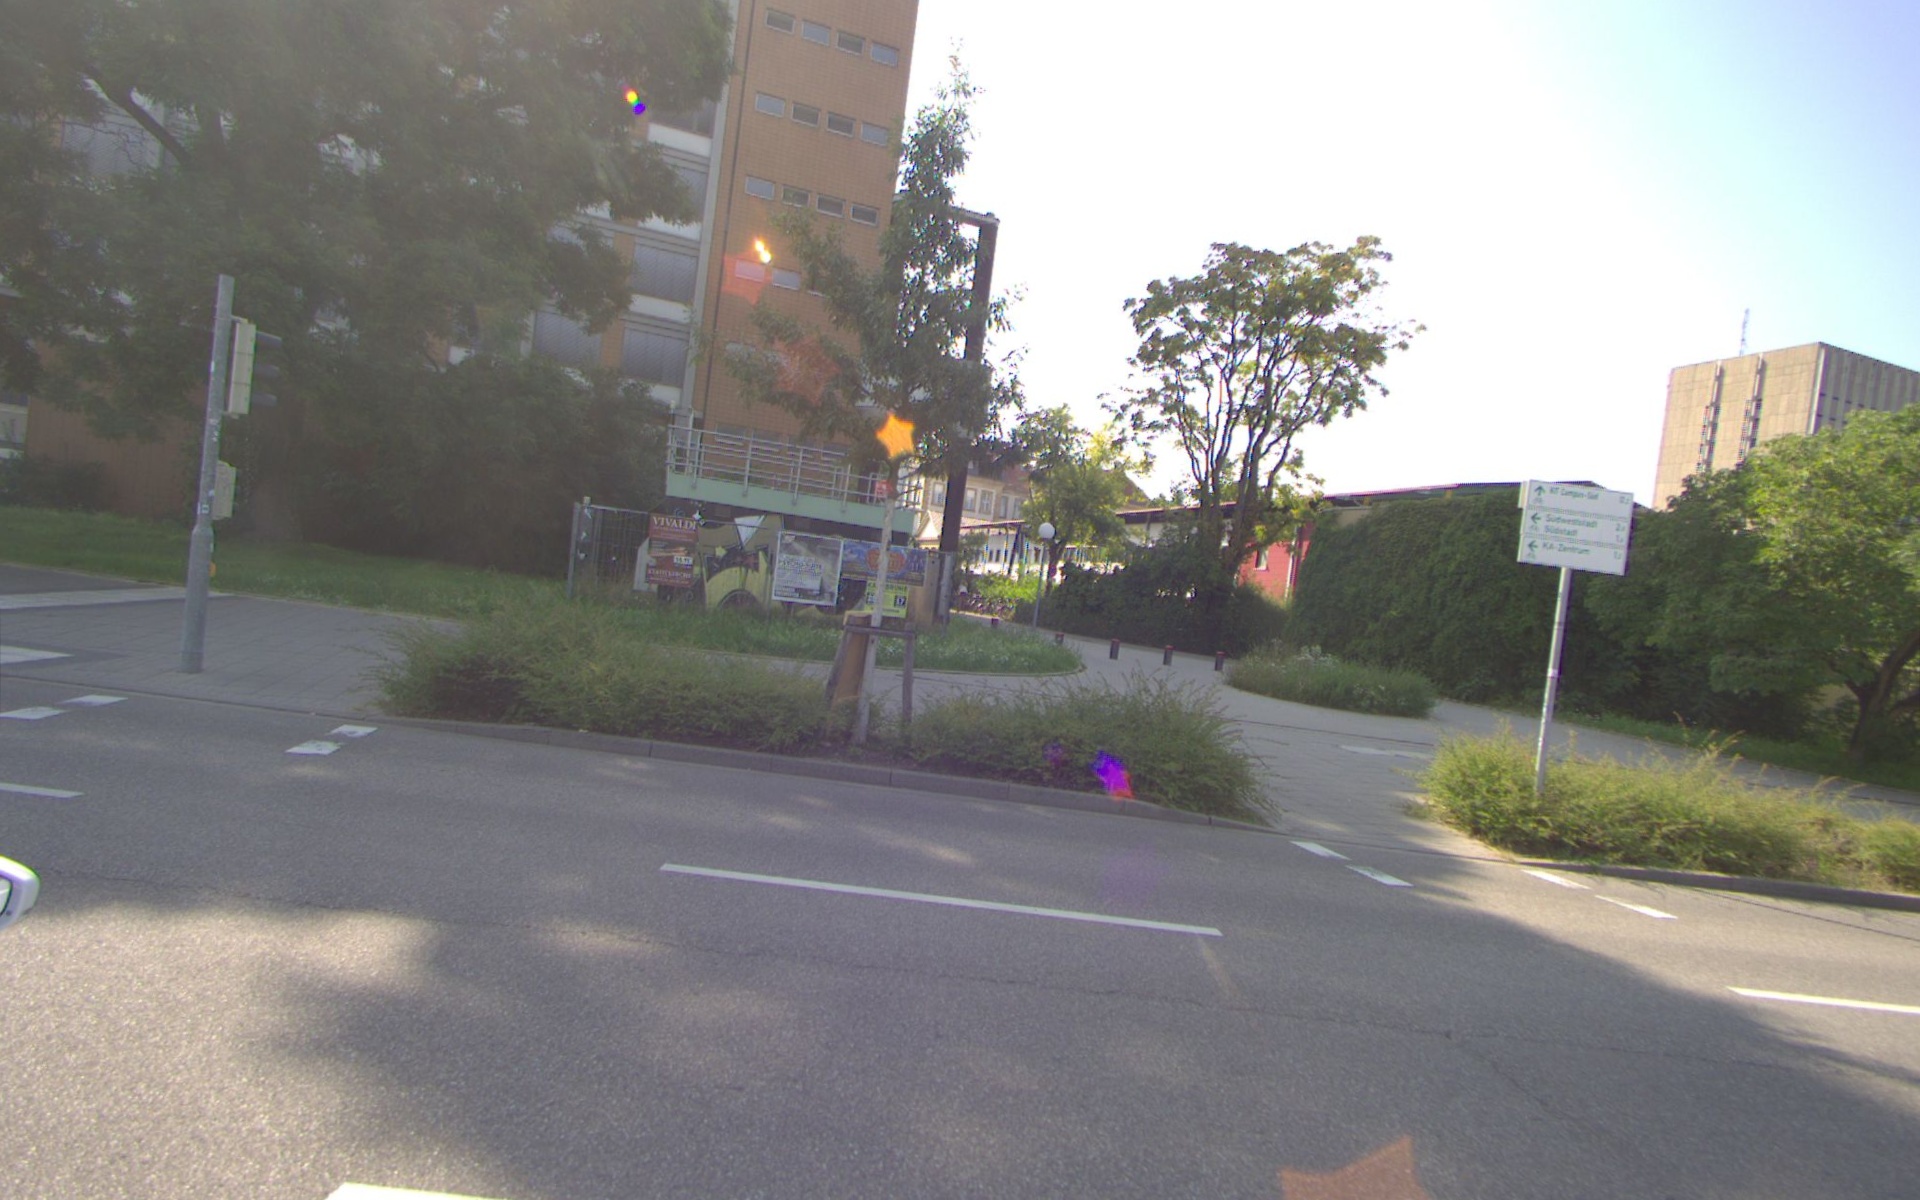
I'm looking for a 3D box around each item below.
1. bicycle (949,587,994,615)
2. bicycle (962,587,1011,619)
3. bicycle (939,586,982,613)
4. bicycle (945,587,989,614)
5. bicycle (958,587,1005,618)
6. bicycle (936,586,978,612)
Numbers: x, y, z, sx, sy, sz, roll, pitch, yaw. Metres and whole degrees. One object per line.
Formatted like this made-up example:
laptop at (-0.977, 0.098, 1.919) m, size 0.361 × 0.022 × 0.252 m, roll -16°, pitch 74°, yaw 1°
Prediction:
bicycle at (0.697, 0.067, 59.025) m, size 2.397 × 1.238 × 0.718 m, roll 9°, pitch 1°, yaw -13°
bicycle at (1.465, 0.174, 55.438) m, size 2.397 × 1.334 × 0.718 m, roll 9°, pitch 1°, yaw -13°
bicycle at (0.040, -0.037, 62.080) m, size 2.397 × 1.249 × 0.718 m, roll 9°, pitch 1°, yaw -13°
bicycle at (0.409, 0.020, 60.262) m, size 2.397 × 1.238 × 0.718 m, roll 9°, pitch 1°, yaw -13°
bicycle at (1.214, 0.118, 56.541) m, size 2.397 × 1.334 × 0.718 m, roll 9°, pitch 1°, yaw -13°
bicycle at (-0.210, -0.083, 62.974) m, size 2.397 × 1.254 × 0.718 m, roll 9°, pitch 1°, yaw -13°
